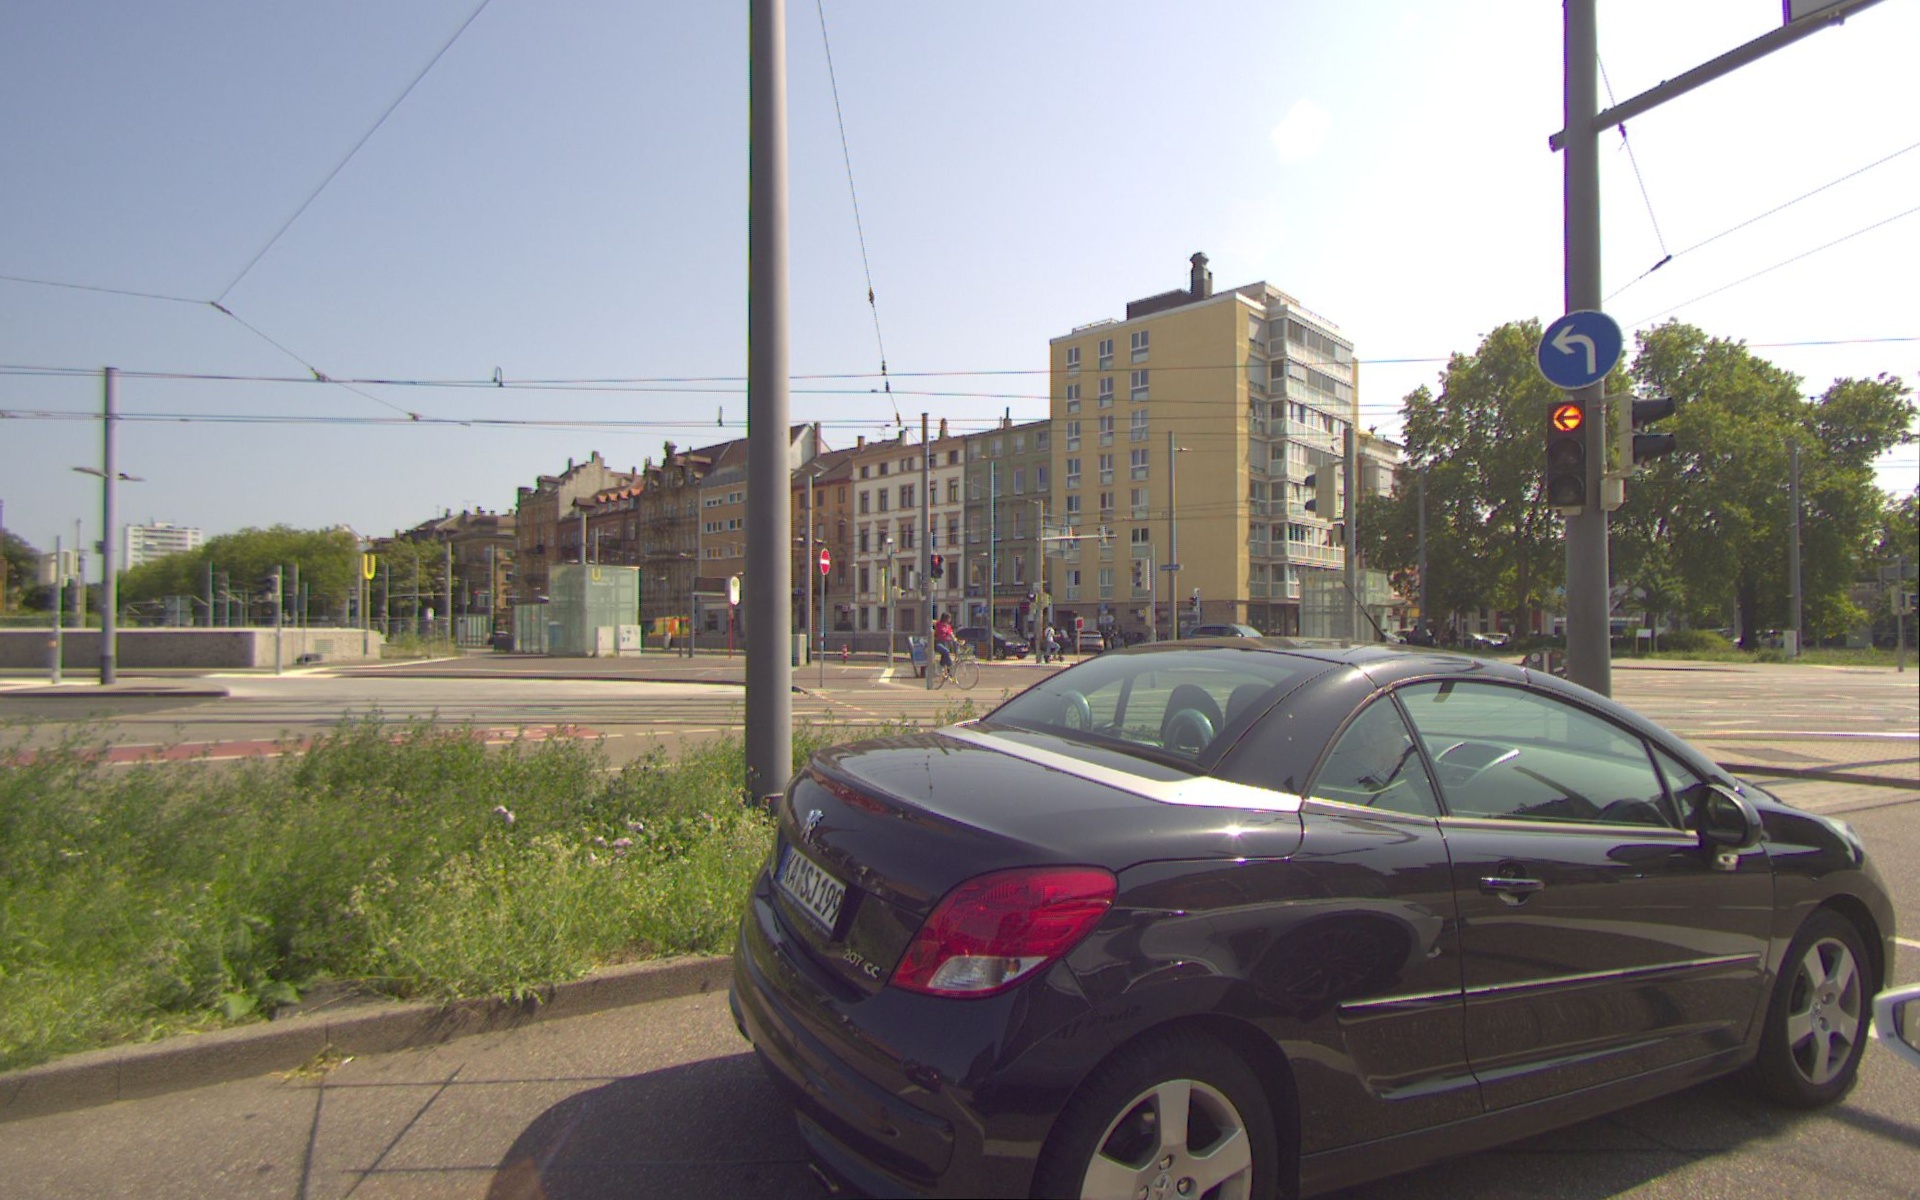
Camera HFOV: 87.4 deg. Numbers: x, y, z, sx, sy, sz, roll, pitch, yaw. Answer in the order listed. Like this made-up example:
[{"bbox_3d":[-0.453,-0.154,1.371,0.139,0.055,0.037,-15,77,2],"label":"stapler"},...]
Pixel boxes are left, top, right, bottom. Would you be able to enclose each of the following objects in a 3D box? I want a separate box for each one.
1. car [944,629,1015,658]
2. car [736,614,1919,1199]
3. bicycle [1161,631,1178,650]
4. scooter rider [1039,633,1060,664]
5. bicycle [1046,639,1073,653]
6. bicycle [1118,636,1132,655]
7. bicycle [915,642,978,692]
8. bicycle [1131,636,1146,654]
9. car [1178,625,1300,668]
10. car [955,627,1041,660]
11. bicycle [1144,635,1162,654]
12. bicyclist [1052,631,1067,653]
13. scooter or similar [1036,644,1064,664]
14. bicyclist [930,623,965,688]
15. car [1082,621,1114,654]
[{"bbox_3d":[1.148,2.617,61.009,4.278,1.639,1.743,-2,-2,45],"label":"car"},{"bbox_3d":[1.324,0.789,3.318,3.731,1.406,1.760,1,0,-26],"label":"car"},{"bbox_3d":[13.838,2.650,66.311,0.680,1.220,3.265,0,-2,5],"label":"bicycle"},{"bbox_3d":[3.932,2.119,44.095,0.602,1.371,0.682,1,-2,-34],"label":"scooter rider"},{"bbox_3d":[6.847,3.185,69.348,1.787,0.954,0.567,-1,-2,30],"label":"bicycle"},{"bbox_3d":[11.347,3.117,69.105,0.680,1.220,2.793,0,-2,5],"label":"bicycle"},{"bbox_3d":[-0.348,1.573,23.886,0.499,1.108,1.918,1,-2,-35],"label":"bicycle"},{"bbox_3d":[12.138,3.053,68.440,0.680,1.220,3.265,0,-2,5],"label":"bicycle"},{"bbox_3d":[11.157,1.828,40.345,1.760,1.621,4.483,2,-2,-45],"label":"car"},{"bbox_3d":[1.846,2.115,49.638,4.150,1.581,1.729,-1,-2,44],"label":"car"},{"bbox_3d":[12.937,2.946,67.400,0.892,1.220,3.265,0,-2,5],"label":"bicycle"},{"bbox_3d":[6.867,2.883,69.337,0.896,1.528,0.558,-1,-2,29],"label":"bicyclist"},{"bbox_3d":[3.949,2.361,43.993,1.132,0.835,0.517,1,-2,-35],"label":"scooter or similar"},{"bbox_3d":[-0.305,1.313,23.956,0.632,1.529,0.553,1,-2,-36],"label":"bicyclist"},{"bbox_3d":[8.576,2.297,62.266,1.767,1.951,4.003,0,-2,11],"label":"car"}]
